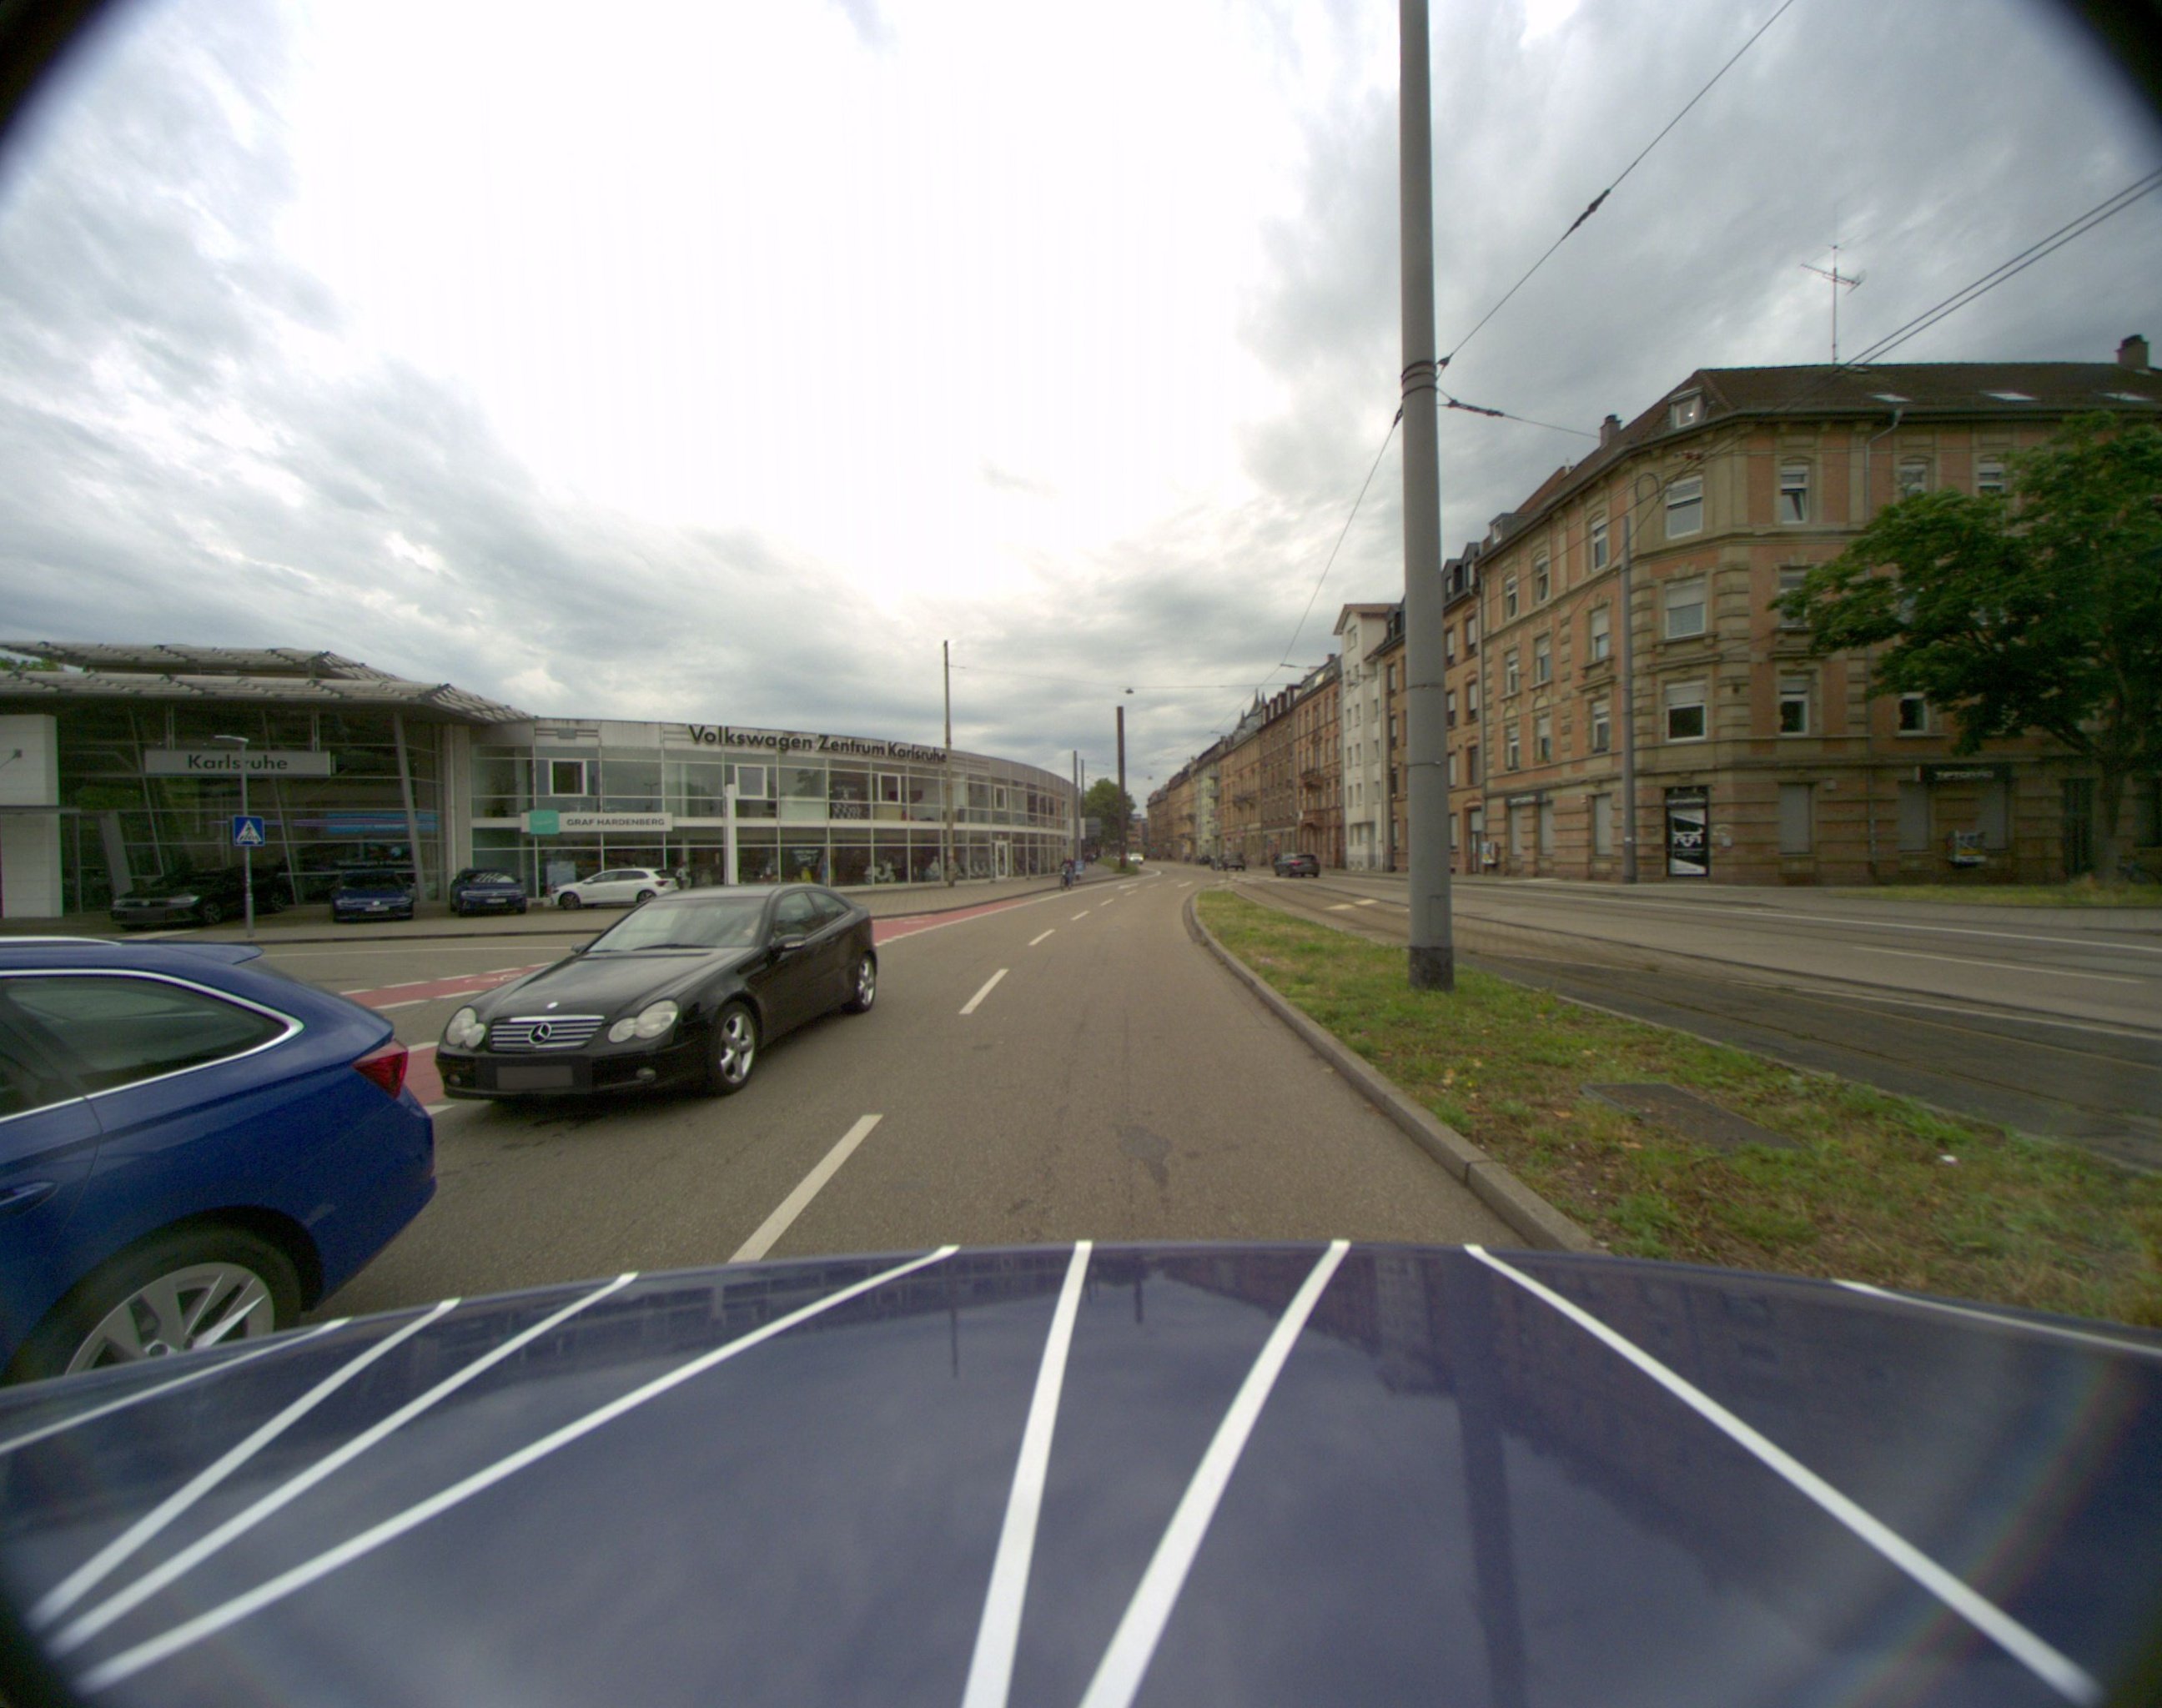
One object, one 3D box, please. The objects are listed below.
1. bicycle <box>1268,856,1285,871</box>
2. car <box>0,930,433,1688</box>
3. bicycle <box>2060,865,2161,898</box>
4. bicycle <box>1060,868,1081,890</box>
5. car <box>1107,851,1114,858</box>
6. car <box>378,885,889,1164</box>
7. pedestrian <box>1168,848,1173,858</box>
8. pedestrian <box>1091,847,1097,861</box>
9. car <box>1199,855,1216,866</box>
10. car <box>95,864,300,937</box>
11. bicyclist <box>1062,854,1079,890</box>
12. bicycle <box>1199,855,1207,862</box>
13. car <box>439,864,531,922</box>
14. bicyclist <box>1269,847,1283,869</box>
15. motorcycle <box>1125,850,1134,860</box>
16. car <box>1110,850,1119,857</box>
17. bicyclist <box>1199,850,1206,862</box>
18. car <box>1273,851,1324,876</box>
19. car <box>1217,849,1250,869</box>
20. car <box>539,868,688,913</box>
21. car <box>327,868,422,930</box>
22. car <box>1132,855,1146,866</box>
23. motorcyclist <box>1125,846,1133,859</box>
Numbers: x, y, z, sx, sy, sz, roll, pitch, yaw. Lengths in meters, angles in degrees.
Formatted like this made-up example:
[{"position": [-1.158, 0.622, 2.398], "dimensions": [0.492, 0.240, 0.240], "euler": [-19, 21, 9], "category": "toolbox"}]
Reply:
[{"position": [16.212, 0.749, 63.133], "dimensions": [0.826, 1.201, 2.234], "euler": [0, 0, -1], "category": "bicycle"}, {"position": [-3.190, 1.040, 0.406], "dimensions": [1.784, 1.480, 4.465], "euler": [-1, 1, 1], "category": "car"}, {"position": [30.328, 0.825, 22.224], "dimensions": [0.662, 0.909, 1.989], "euler": [0, -3, -10], "category": "bicycle"}, {"position": [-0.502, 1.246, 37.890], "dimensions": [0.727, 1.003, 2.177], "euler": [-1, 0, 7], "category": "bicycle"}, {"position": [7.933, 0.135, 207.888], "dimensions": [1.802, 1.630, 4.230], "euler": [-1, 0, 1], "category": "car"}, {"position": [-3.102, 1.073, 6.410], "dimensions": [1.714, 1.413, 4.070], "euler": [-1, 0, 3], "category": "car"}, {"position": [18.306, -0.292, 155.334], "dimensions": [0.814, 2.002, 0.733], "euler": [-1, 1, 1], "category": "pedestrian"}, {"position": [1.743, 0.057, 102.138], "dimensions": [0.871, 1.843, 0.706], "euler": [-1, 1, 1], "category": "pedestrian"}, {"position": [17.072, 0.893, 102.999], "dimensions": [1.852, 1.471, 3.828], "euler": [-1, 0, 3], "category": "car"}, {"position": [-26.476, 1.297, 23.048], "dimensions": [1.862, 1.624, 4.500], "euler": [-3, 4, -18], "category": "car"}, {"position": [-0.516, 0.873, 37.808], "dimensions": [0.730, 1.747, 0.911], "euler": [-1, 1, 7], "category": "bicyclist"}, {"position": [15.441, 0.541, 96.464], "dimensions": [0.607, 0.910, 1.719], "euler": [-1, 0, -4], "category": "bicycle"}, {"position": [-20.142, 1.241, 25.623], "dimensions": [1.905, 1.554, 4.207], "euler": [-2, 3, -45], "category": "car"}, {"position": [16.209, 0.331, 63.218], "dimensions": [0.831, 1.881, 1.049], "euler": [0, 0, -1], "category": "bicyclist"}, {"position": [6.071, 0.145, 95.354], "dimensions": [0.960, 1.128, 2.712], "euler": [-1, 2, 1], "category": "motorcycle"}, {"position": [7.701, -0.158, 174.307], "dimensions": [1.802, 1.630, 4.230], "euler": [-1, 0, 1], "category": "car"}, {"position": [15.441, 0.214, 96.355], "dimensions": [0.663, 1.486, 0.942], "euler": [-1, 1, -3], "category": "bicyclist"}, {"position": [13.018, 0.527, 45.667], "dimensions": [1.698, 1.387, 4.391], "euler": [-1, 0, -2], "category": "car"}, {"position": [12.957, 0.382, 64.719], "dimensions": [1.802, 1.630, 4.229], "euler": [-1, 0, -1], "category": "car"}, {"position": [-16.993, 1.291, 27.827], "dimensions": [4.263, 1.444, 1.781], "euler": [-1, 0, -9], "category": "car"}, {"position": [-22.196, 1.318, 23.831], "dimensions": [4.325, 1.496, 1.862], "euler": [3, 3, 43], "category": "car"}, {"position": [8.568, 0.971, 113.261], "dimensions": [1.802, 1.630, 4.230], "euler": [-1, 0, 1], "category": "car"}, {"position": [6.066, -0.238, 95.374], "dimensions": [0.960, 1.560, 1.116], "euler": [-1, 2, 1], "category": "motorcyclist"}]
